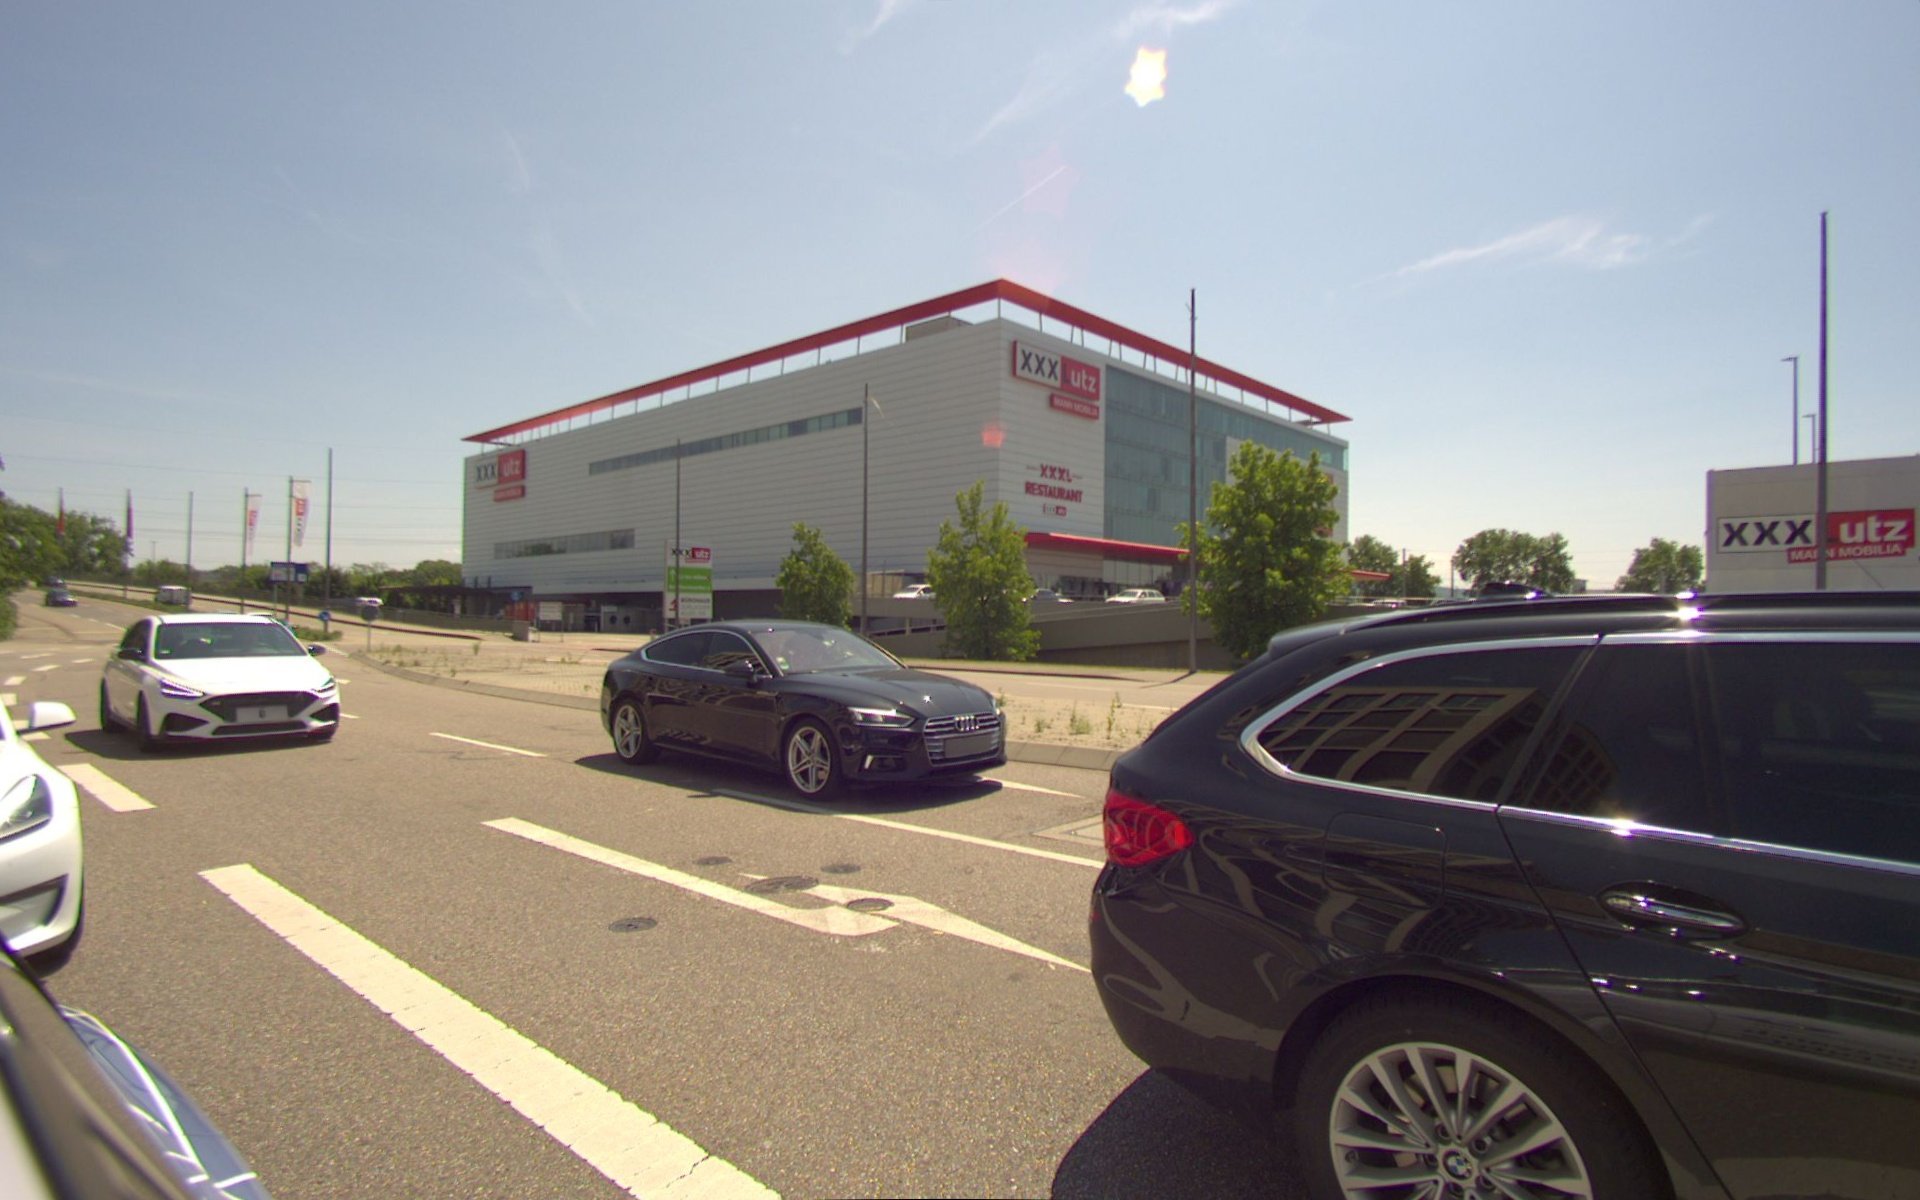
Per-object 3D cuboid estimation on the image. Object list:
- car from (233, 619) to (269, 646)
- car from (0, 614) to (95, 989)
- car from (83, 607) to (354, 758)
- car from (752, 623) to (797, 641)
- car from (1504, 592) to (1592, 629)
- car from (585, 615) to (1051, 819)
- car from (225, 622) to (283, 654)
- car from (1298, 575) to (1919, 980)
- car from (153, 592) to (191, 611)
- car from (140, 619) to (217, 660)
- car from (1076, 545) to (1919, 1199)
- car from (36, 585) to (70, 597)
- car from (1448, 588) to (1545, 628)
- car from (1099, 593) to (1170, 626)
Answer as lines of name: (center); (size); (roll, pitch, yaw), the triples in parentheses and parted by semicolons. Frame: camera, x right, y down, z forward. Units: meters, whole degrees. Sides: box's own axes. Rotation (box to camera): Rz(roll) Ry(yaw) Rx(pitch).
car: (-43.885, 1.986, 62.595); (1.653, 1.587, 4.066); (1, -1, -37)
car: (-5.797, 0.810, 4.777); (4.401, 1.436, 1.857); (-1, -1, 39)
car: (-8.858, 0.845, 11.957); (4.228, 1.461, 1.712); (-1, -1, 41)
car: (-17.075, 2.944, 93.153); (1.911, 1.632, 3.698); (0, -2, 41)
car: (32.525, 0.598, 56.030); (3.996, 1.923, 1.974); (-1, -2, 39)
car: (-1.502, 0.859, 9.164); (4.533, 1.401, 1.729); (-1, -2, 43)
car: (-33.551, 1.764, 48.042); (1.775, 1.424, 4.412); (2, -2, -41)
car: (3.840, 0.671, 4.680); (3.991, 1.505, 1.782); (-1, -1, 36)
car: (-80.867, 0.186, 103.804); (4.831, 1.864, 1.814); (-1, -2, 36)
car: (-28.498, 1.413, 36.850); (1.776, 1.388, 4.410); (2, -2, -43)
car: (2.618, 0.645, 1.682); (4.620, 1.477, 1.781); (-1, -1, 40)
car: (-105.736, -1.003, 117.951); (3.878, 1.312, 1.842); (0, -3, 30)
car: (27.204, 0.416, 51.356); (3.998, 1.946, 1.973); (-1, -2, 41)
car: (9.949, 0.570, 57.558); (2.001, 1.781, 4.140); (0, -2, 44)
